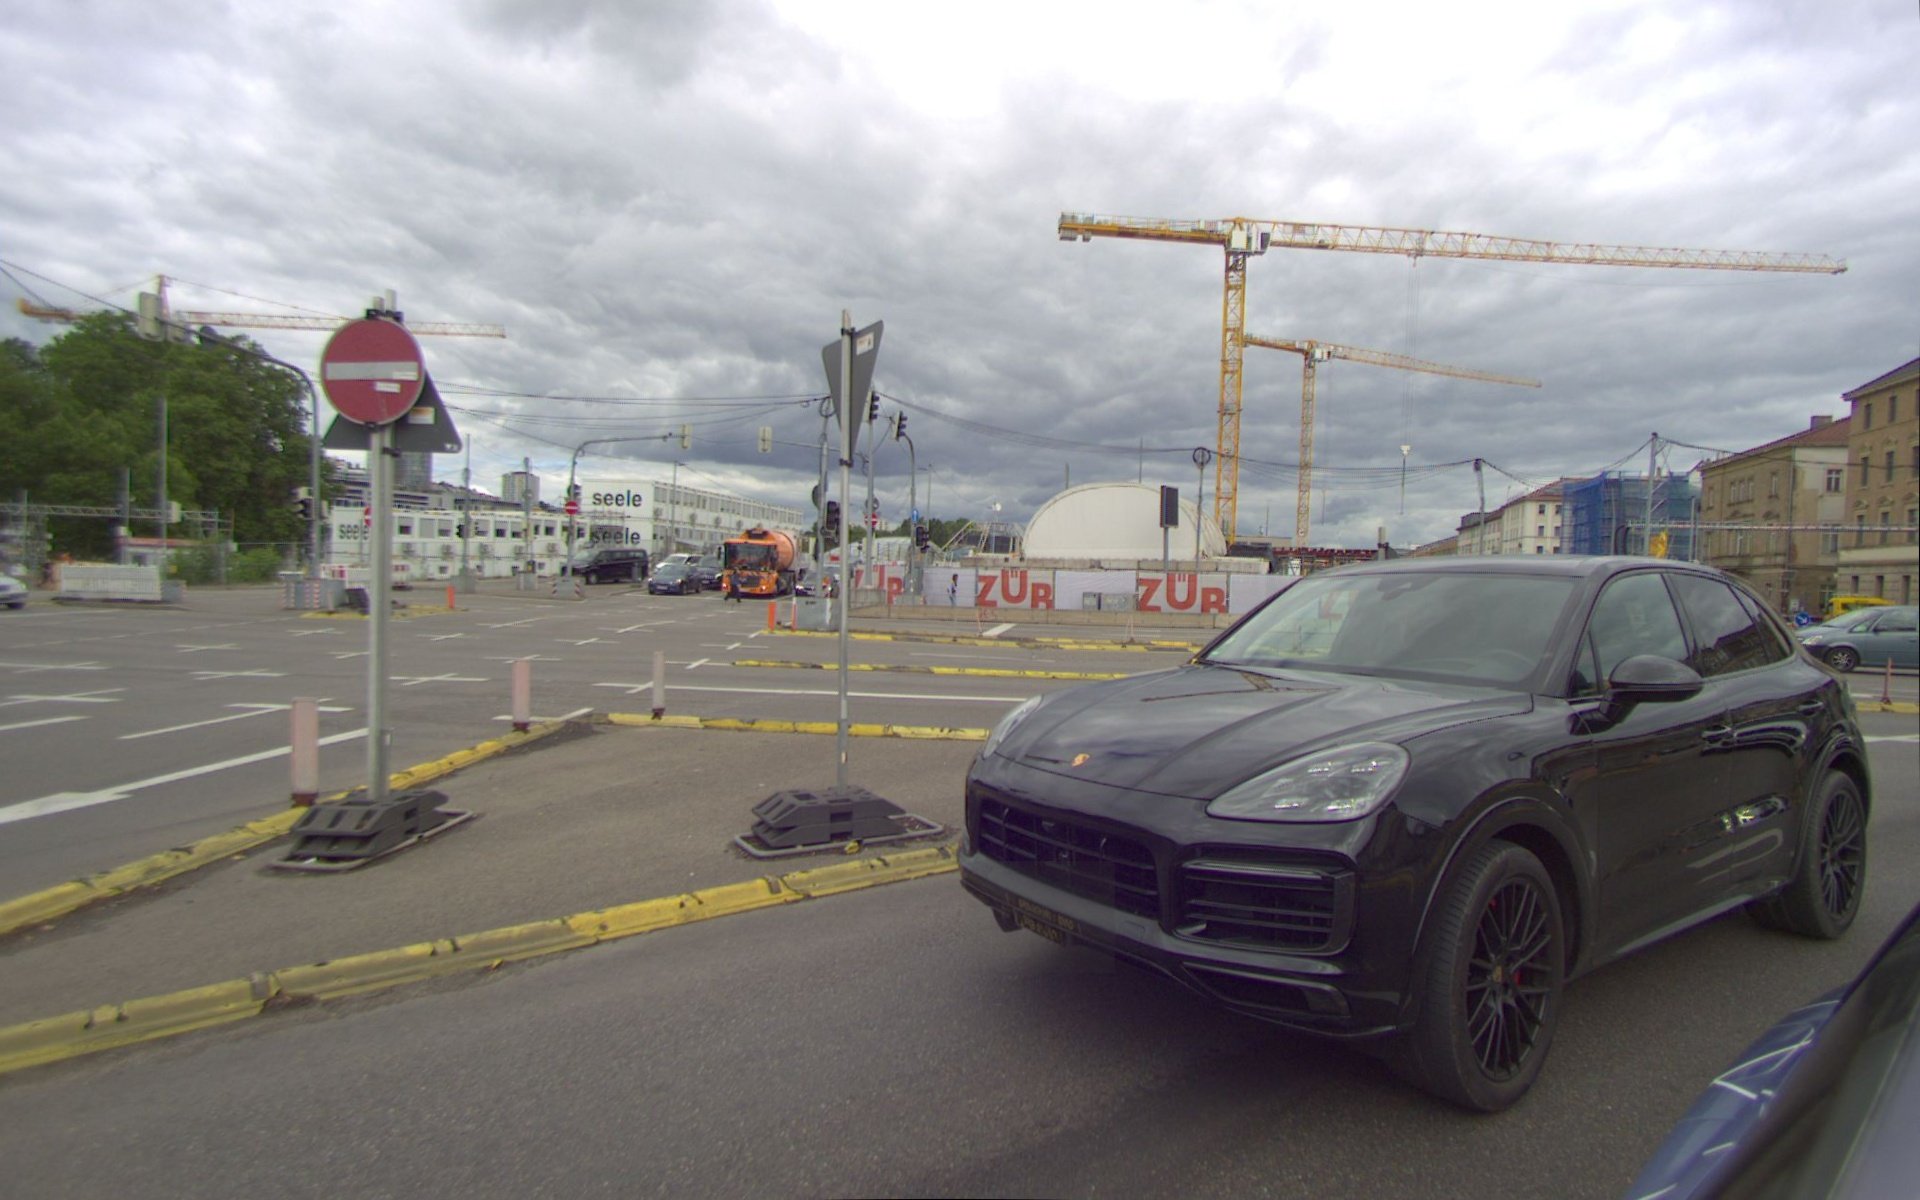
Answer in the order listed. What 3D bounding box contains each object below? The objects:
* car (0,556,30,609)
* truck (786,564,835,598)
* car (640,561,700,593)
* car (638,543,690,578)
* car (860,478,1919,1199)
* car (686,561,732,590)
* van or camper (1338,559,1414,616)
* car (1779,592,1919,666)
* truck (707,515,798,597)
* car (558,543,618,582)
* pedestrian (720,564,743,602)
[{"bbox_3d":[-27.825,-0.498,27.987,3.403,1.453,1.684,1,3,20],"label":"car"},{"bbox_3d":[-7.289,-0.933,49.496,1.792,1.559,3.761,2,1,0],"label":"truck"},{"bbox_3d":[-14.254,-1.149,49.964,1.753,1.453,4.069,2,1,0],"label":"car"},{"bbox_3d":[-18.714,-2.455,64.148,1.963,2.039,4.163,3,1,2],"label":"car"},{"bbox_3d":[2.053,0.552,4.263,4.520,1.668,1.958,1,2,-35],"label":"car"},{"bbox_3d":[-13.784,-1.358,55.807,1.620,1.453,3.620,2,1,0],"label":"car"},{"bbox_3d":[17.478,-0.579,42.462,1.989,2.254,3.948,3,3,36],"label":"van or camper"},{"bbox_3d":[21.521,0.691,23.188,3.901,1.594,1.683,2,-2,17],"label":"car"},{"bbox_3d":[-10.434,-2.220,51.954,2.855,3.720,9.031,2,2,-1],"label":"truck"},{"bbox_3d":[-20.955,-2.094,57.180,1.961,2.039,4.002,3,1,-2],"label":"car"},{"bbox_3d":[-9.861,-0.753,43.677,0.834,1.612,0.623,1,1,-3],"label":"pedestrian"}]
